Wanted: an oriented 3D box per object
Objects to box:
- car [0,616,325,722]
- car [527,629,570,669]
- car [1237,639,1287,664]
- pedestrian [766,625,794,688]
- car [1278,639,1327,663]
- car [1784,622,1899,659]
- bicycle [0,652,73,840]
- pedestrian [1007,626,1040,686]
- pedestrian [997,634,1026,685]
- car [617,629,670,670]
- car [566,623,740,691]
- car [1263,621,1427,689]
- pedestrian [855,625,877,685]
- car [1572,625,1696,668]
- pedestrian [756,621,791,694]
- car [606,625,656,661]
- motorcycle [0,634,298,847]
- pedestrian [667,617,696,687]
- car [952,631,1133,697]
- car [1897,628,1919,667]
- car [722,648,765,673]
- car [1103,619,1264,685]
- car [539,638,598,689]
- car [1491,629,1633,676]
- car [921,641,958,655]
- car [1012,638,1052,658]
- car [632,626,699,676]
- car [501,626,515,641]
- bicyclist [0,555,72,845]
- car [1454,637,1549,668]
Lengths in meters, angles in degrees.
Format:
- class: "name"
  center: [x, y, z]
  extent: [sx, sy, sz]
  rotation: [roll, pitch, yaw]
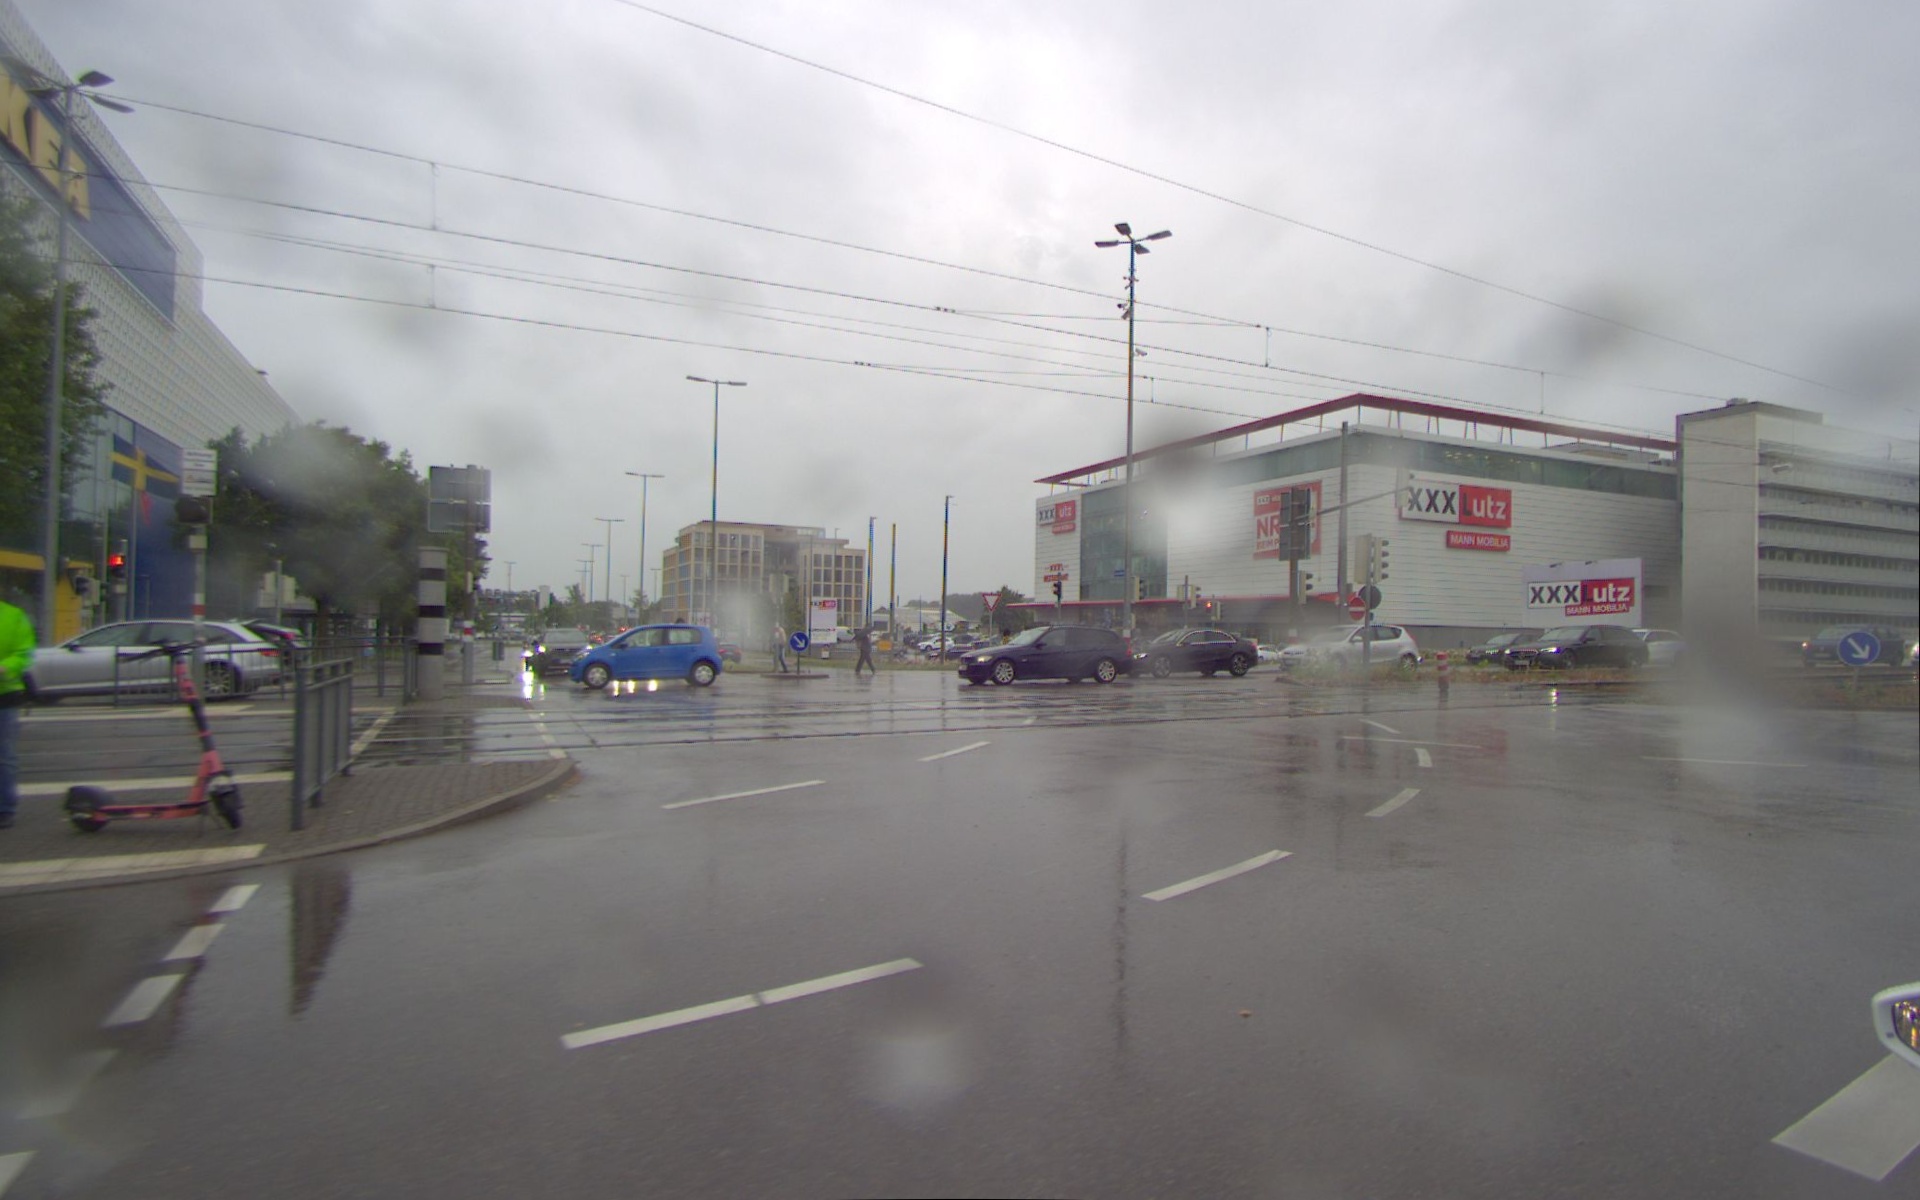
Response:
- class: "car"
  center: [-14.395, 1.137, 17.576]
  extent: [5.287, 1.588, 1.988]
  rotation: [0, 1, -24]
- class: "car"
  center: [-19.213, 2.258, 46.779]
  extent: [1.735, 1.639, 3.995]
  rotation: [2, 0, -24]
- class: "car"
  center: [26.336, 4.447, 87.545]
  extent: [3.951, 2.041, 1.985]
  rotation: [1, 1, -29]
- class: "pedestrian"
  center: [-6.026, 1.892, 33.617]
  extent: [0.842, 2.040, 0.783]
  rotation: [2, 0, -9]
- class: "car"
  center: [30.668, 4.561, 89.975]
  extent: [3.951, 2.041, 1.985]
  rotation: [1, 1, -29]
- class: "car"
  center: [33.550, 1.500, 38.214]
  extent: [4.401, 1.266, 1.707]
  rotation: [0, 1, -26]
- class: "bicycle"
  center: [-6.138, 0.897, 6.107]
  extent: [0.661, 1.022, 1.858]
  rotation: [0, 2, -27]
- class: "pedestrian"
  center: [2.198, 1.948, 34.929]
  extent: [0.849, 2.040, 0.690]
  rotation: [2, 0, -33]
- class: "pedestrian"
  center: [1.919, 2.185, 37.291]
  extent: [0.760, 1.842, 0.709]
  rotation: [2, 0, -33]
- class: "car"
  center: [-14.101, 2.146, 44.596]
  extent: [1.794, 1.561, 4.356]
  rotation: [0, 1, -24]
- class: "car"
  center: [-7.318, 1.305, 23.952]
  extent: [3.859, 1.433, 1.578]
  rotation: [0, 1, -23]
- class: "car"
  center: [10.905, 1.492, 28.408]
  extent: [4.365, 1.731, 1.708]
  rotation: [0, 1, -23]
- class: "pedestrian"
  center: [-3.342, 1.941, 35.630]
  extent: [0.658, 2.040, 0.768]
  rotation: [2, 0, -12]
- class: "car"
  center: [25.706, 1.743, 38.300]
  extent: [4.648, 1.455, 1.806]
  rotation: [0, 1, -25]
- class: "pedestrian"
  center: [-6.062, 1.859, 32.667]
  extent: [0.972, 2.274, 0.919]
  rotation: [3, 1, -13]
- class: "car"
  center: [-16.882, 2.177, 51.387]
  extent: [1.973, 1.625, 4.084]
  rotation: [2, 0, -25]
- class: "motorcycle"
  center: [-5.016, 0.845, 6.271]
  extent: [1.375, 1.238, 0.528]
  rotation: [0, 2, -6]
- class: "pedestrian"
  center: [-8.362, 1.540, 30.157]
  extent: [0.615, 2.041, 0.695]
  rotation: [1, 2, 5]
- class: "car"
  center: [2.002, 1.510, 24.460]
  extent: [4.138, 1.385, 1.579]
  rotation: [0, 1, -21]
- class: "car"
  center: [40.662, 1.944, 41.204]
  extent: [3.987, 1.556, 1.709]
  rotation: [0, 1, -21]
- class: "car"
  center: [-14.420, 4.008, 66.768]
  extent: [2.007, 1.426, 4.198]
  rotation: [2, 0, -23]
- class: "car"
  center: [6.663, 1.551, 30.002]
  extent: [4.433, 1.818, 1.803]
  rotation: [2, 0, -22]
- class: "car"
  center: [-13.956, 2.192, 35.674]
  extent: [1.794, 1.561, 4.264]
  rotation: [0, -1, -24]
- class: "car"
  center: [18.691, 1.599, 31.206]
  extent: [3.987, 1.266, 1.709]
  rotation: [0, 1, -21]
- class: "car"
  center: [-2.389, 5.587, 116.964]
  extent: [3.954, 1.582, 1.753]
  rotation: [2, 0, -26]
- class: "car"
  center: [7.582, 5.055, 105.608]
  extent: [3.860, 1.930, 1.809]
  rotation: [2, 0, -31]
- class: "car"
  center: [-10.760, 1.790, 36.530]
  extent: [1.794, 1.561, 4.437]
  rotation: [0, 0, -24]
- class: "car"
  center: [-68.707, 5.111, 152.685]
  extent: [1.973, 2.040, 3.976]
  rotation: [2, 0, -24]
- class: "bicyclist"
  center: [-6.129, 0.597, 6.232]
  extent: [0.783, 1.755, 0.614]
  rotation: [0, 2, -29]
- class: "car"
  center: [25.004, 2.394, 46.417]
  extent: [3.987, 1.266, 1.709]
  rotation: [0, 1, -21]
